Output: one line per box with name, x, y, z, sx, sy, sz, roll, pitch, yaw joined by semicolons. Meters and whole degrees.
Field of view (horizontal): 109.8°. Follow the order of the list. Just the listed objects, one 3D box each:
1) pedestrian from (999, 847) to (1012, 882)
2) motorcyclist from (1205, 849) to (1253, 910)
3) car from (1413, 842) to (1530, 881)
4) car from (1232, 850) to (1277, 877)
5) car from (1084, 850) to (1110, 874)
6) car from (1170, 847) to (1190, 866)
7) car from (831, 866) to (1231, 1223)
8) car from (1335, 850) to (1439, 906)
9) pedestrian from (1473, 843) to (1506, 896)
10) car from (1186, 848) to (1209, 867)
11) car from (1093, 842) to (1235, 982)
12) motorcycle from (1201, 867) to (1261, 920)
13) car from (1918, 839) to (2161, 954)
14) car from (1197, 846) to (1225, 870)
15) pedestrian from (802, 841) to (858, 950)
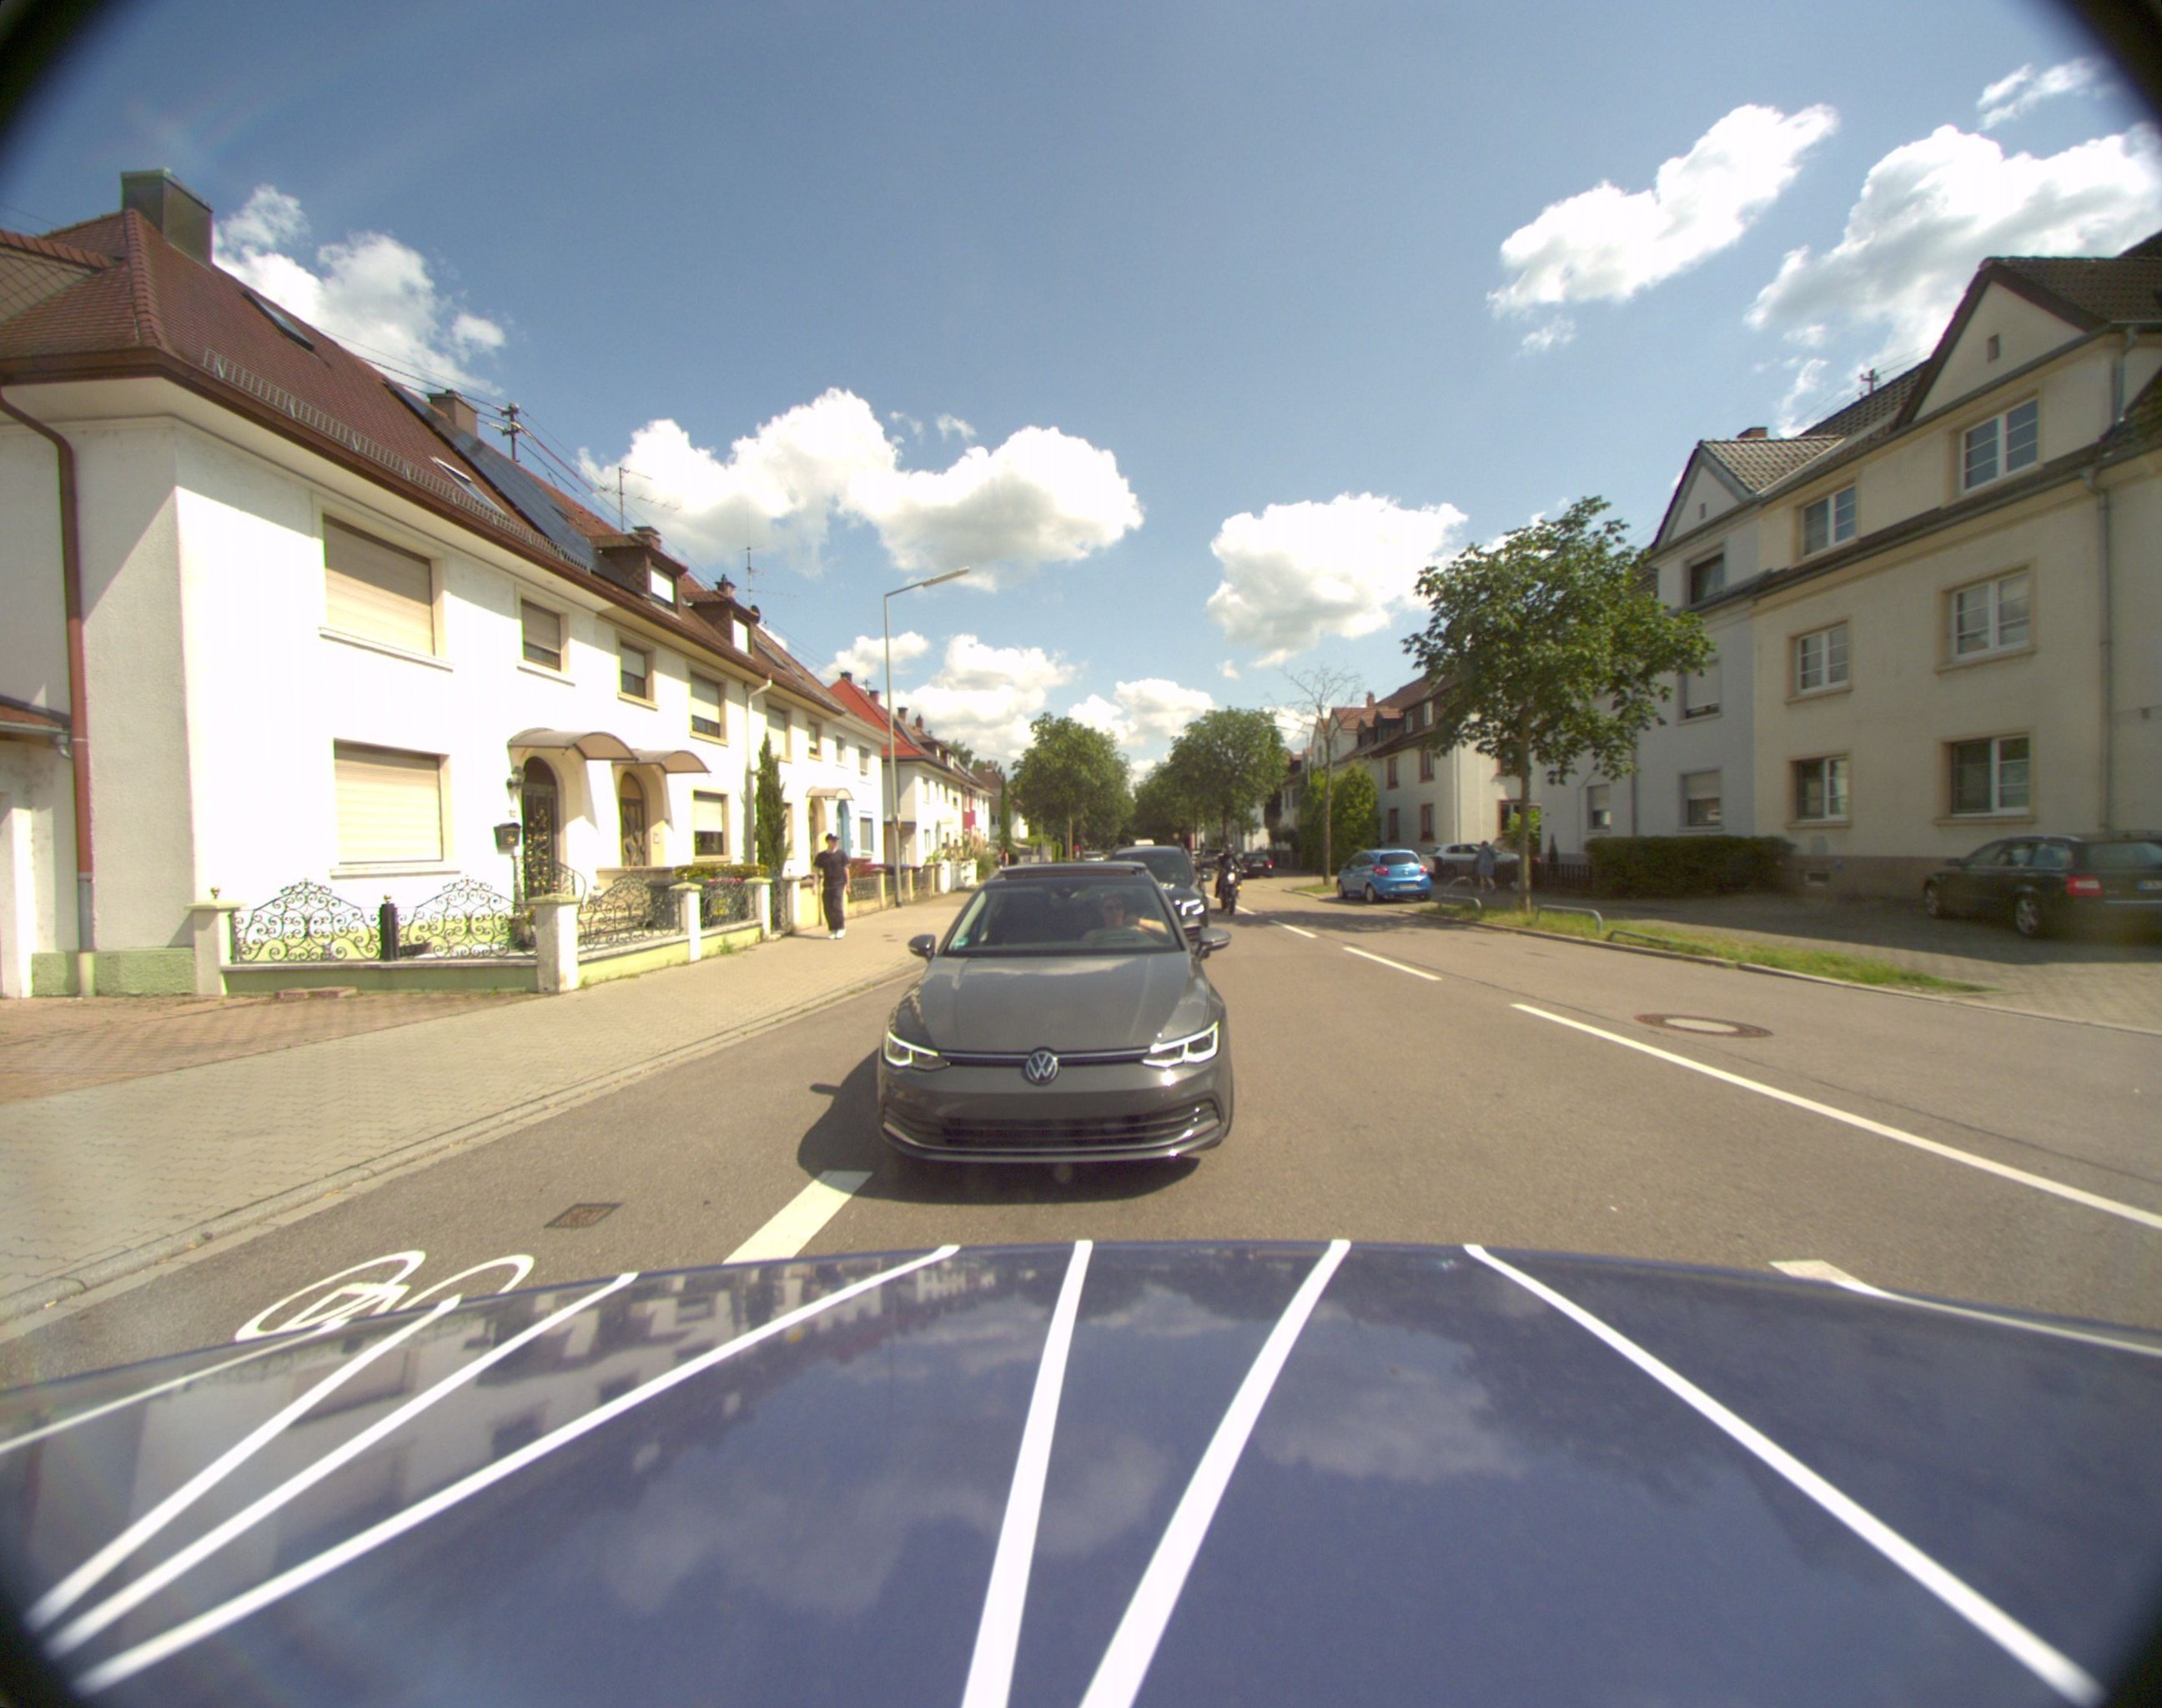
pedestrian;-3.709;0.516;37.237;0.519;1.701;0.618;-1;1;2
motorcyclist;3.550;0.611;18.314;0.825;1.390;1.100;-3;-2;-3
car;15.633;0.288;30.576;3.805;1.446;1.711;-1;1;4
car;8.952;0.465;39.484;1.709;1.289;3.918;-1;0;4
car;1.073;0.480;49.956;1.381;1.493;3.002;-2;0;6
car;8.938;0.222;68.494;1.562;1.645;3.252;-1;0;4
car;-0.253;0.894;5.766;1.766;1.465;4.686;-1;0;-1
car;8.623;0.624;21.647;1.709;1.454;3.154;-1;0;1
pedestrian;11.997;0.444;22.313;0.632;1.527;0.618;-1;1;2
car;9.127;0.276;59.451;1.623;1.417;3.002;-2;0;6
car;1.112;0.723;12.106;1.776;1.754;4.874;-1;0;1
motorcycle;3.555;0.902;18.209;0.843;1.121;2.358;-1;0;-3
car;14.240;0.500;10.988;1.757;1.378;4.110;-1;1;31
car;9.118;0.258;53.426;1.562;1.645;3.574;-1;0;4
pedestrian;-4.172;0.664;12.704;0.592;1.757;0.937;-1;1;1
